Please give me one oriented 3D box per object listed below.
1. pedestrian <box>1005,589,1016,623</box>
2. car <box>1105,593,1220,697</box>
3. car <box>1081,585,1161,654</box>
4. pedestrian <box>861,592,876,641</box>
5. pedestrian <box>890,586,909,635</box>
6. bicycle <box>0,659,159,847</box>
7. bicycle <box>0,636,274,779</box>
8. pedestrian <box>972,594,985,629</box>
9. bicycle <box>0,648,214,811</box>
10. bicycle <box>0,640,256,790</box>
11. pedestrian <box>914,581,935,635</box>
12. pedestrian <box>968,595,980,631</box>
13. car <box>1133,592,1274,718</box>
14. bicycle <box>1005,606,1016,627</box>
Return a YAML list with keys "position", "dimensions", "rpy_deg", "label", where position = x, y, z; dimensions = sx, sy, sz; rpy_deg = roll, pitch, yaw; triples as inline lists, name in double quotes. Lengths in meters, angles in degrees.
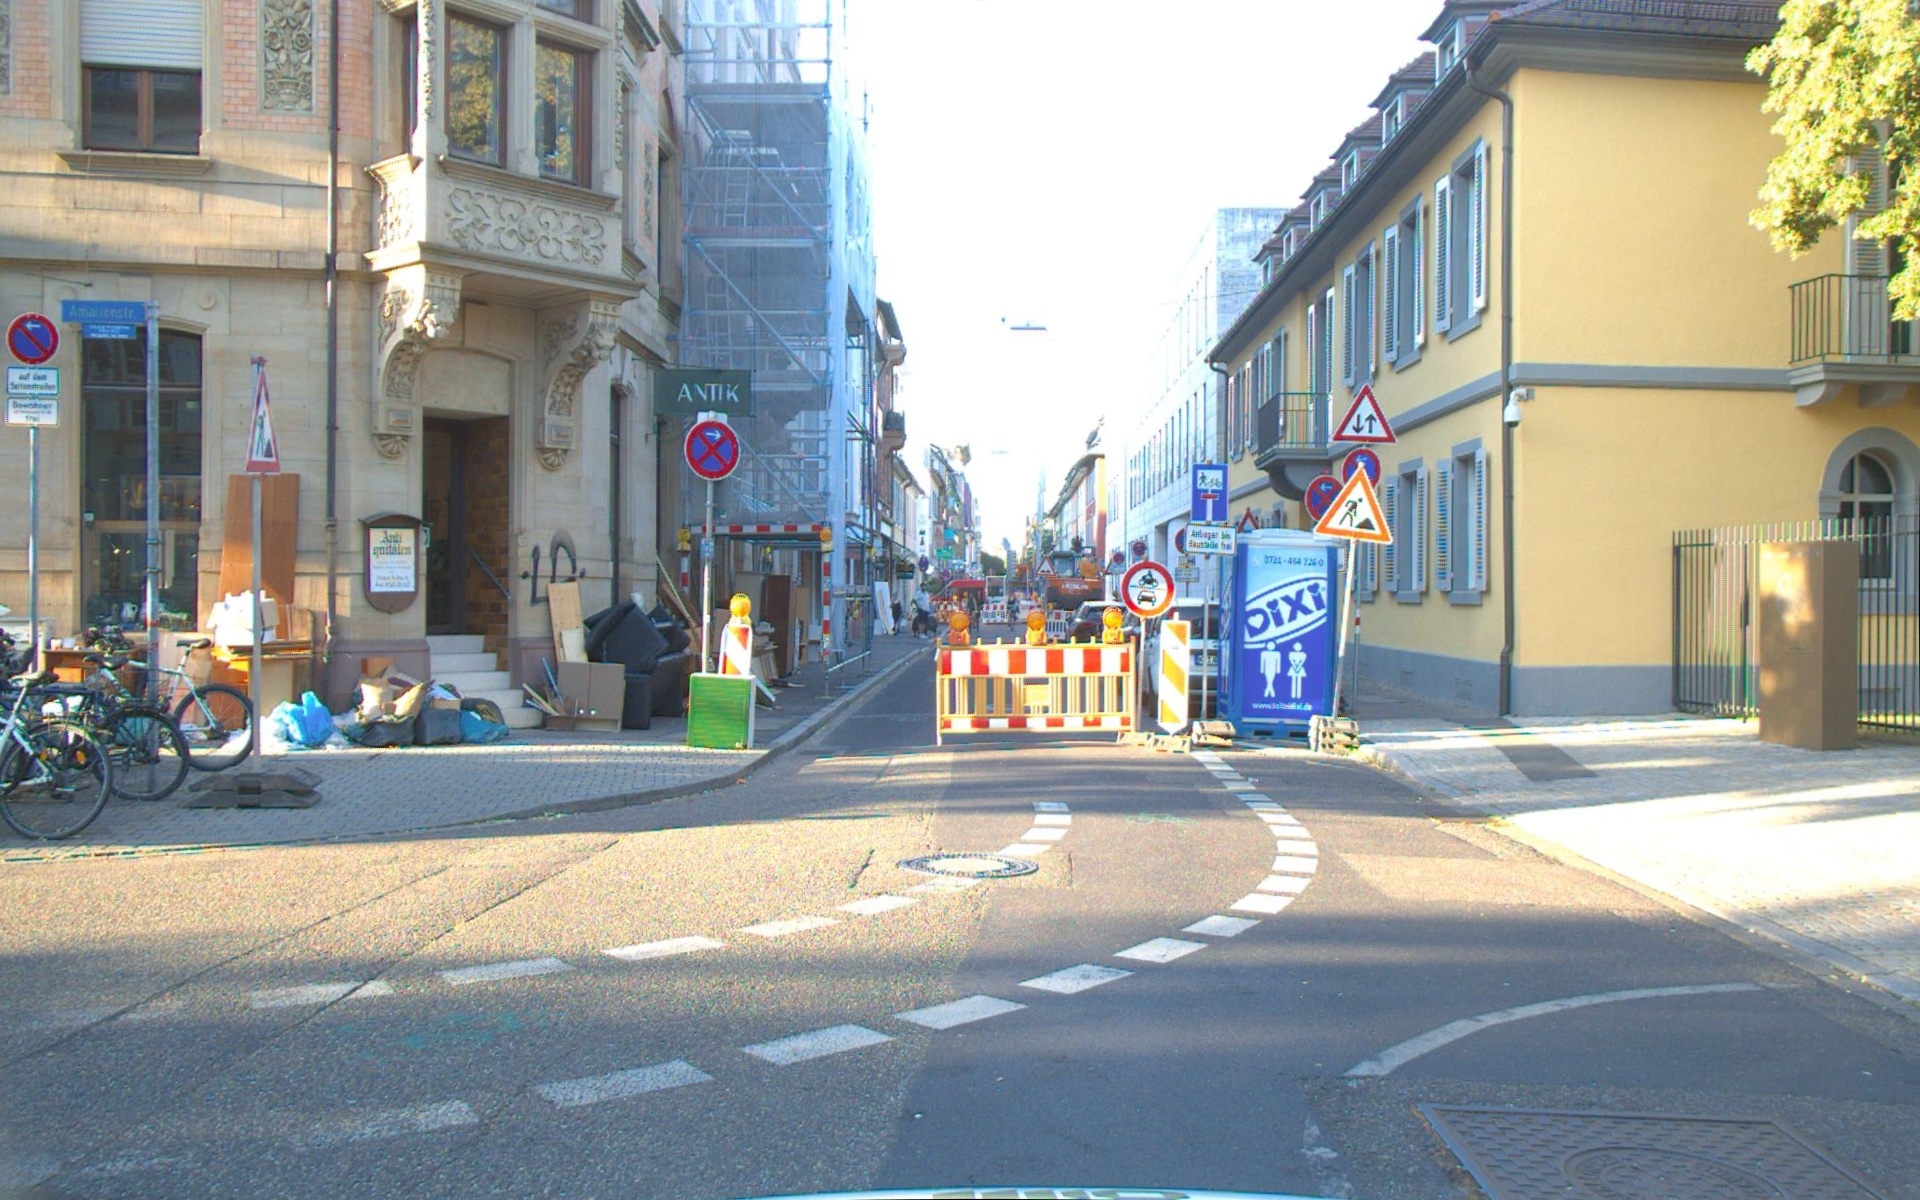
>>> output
- position: [2.204, 0.269, 72.310]
  dimensions: [0.494, 1.487, 0.513]
  rpy_deg: [0, 0, 3]
  label: "pedestrian"
- position: [3.235, 0.673, 27.004]
  dimensions: [1.508, 1.546, 3.980]
  rpy_deg: [0, 0, 2]
  label: "car"
- position: [3.758, 0.435, 38.952]
  dimensions: [1.682, 1.546, 3.222]
  rpy_deg: [0, 0, 2]
  label: "car"
- position: [-3.015, 0.546, 54.338]
  dimensions: [0.335, 1.594, 0.420]
  rpy_deg: [0, -1, 23]
  label: "pedestrian"
- position: [-2.197, 0.396, 60.327]
  dimensions: [0.662, 1.763, 0.699]
  rpy_deg: [1, -1, -2]
  label: "pedestrian"
- position: [-5.842, 0.903, 9.901]
  dimensions: [1.791, 1.065, 0.571]
  rpy_deg: [0, 0, -6]
  label: "bicycle"
- position: [-6.496, 0.822, 12.884]
  dimensions: [2.065, 1.058, 0.464]
  rpy_deg: [0, 0, -10]
  label: "bicycle"
- position: [0.776, 0.488, 70.988]
  dimensions: [0.494, 1.487, 0.513]
  rpy_deg: [0, 0, 8]
  label: "pedestrian"
- position: [-6.075, 0.858, 11.159]
  dimensions: [1.793, 1.031, 0.638]
  rpy_deg: [0, 0, -10]
  label: "bicycle"
- position: [-6.325, 0.825, 12.089]
  dimensions: [2.065, 1.031, 0.638]
  rpy_deg: [0, 0, -10]
  label: "bicycle"
- position: [-1.205, 0.265, 56.219]
  dimensions: [0.501, 1.795, 0.505]
  rpy_deg: [0, 0, -40]
  label: "pedestrian"
- position: [0.566, 0.524, 68.079]
  dimensions: [0.494, 1.487, 0.512]
  rpy_deg: [0, 0, 2]
  label: "pedestrian"
- position: [3.228, 0.688, 22.441]
  dimensions: [1.508, 1.546, 3.222]
  rpy_deg: [1, 0, 2]
  label: "car"
- position: [2.207, 0.735, 72.423]
  dimensions: [0.494, 0.899, 1.477]
  rpy_deg: [0, 0, 1]
  label: "bicycle"
